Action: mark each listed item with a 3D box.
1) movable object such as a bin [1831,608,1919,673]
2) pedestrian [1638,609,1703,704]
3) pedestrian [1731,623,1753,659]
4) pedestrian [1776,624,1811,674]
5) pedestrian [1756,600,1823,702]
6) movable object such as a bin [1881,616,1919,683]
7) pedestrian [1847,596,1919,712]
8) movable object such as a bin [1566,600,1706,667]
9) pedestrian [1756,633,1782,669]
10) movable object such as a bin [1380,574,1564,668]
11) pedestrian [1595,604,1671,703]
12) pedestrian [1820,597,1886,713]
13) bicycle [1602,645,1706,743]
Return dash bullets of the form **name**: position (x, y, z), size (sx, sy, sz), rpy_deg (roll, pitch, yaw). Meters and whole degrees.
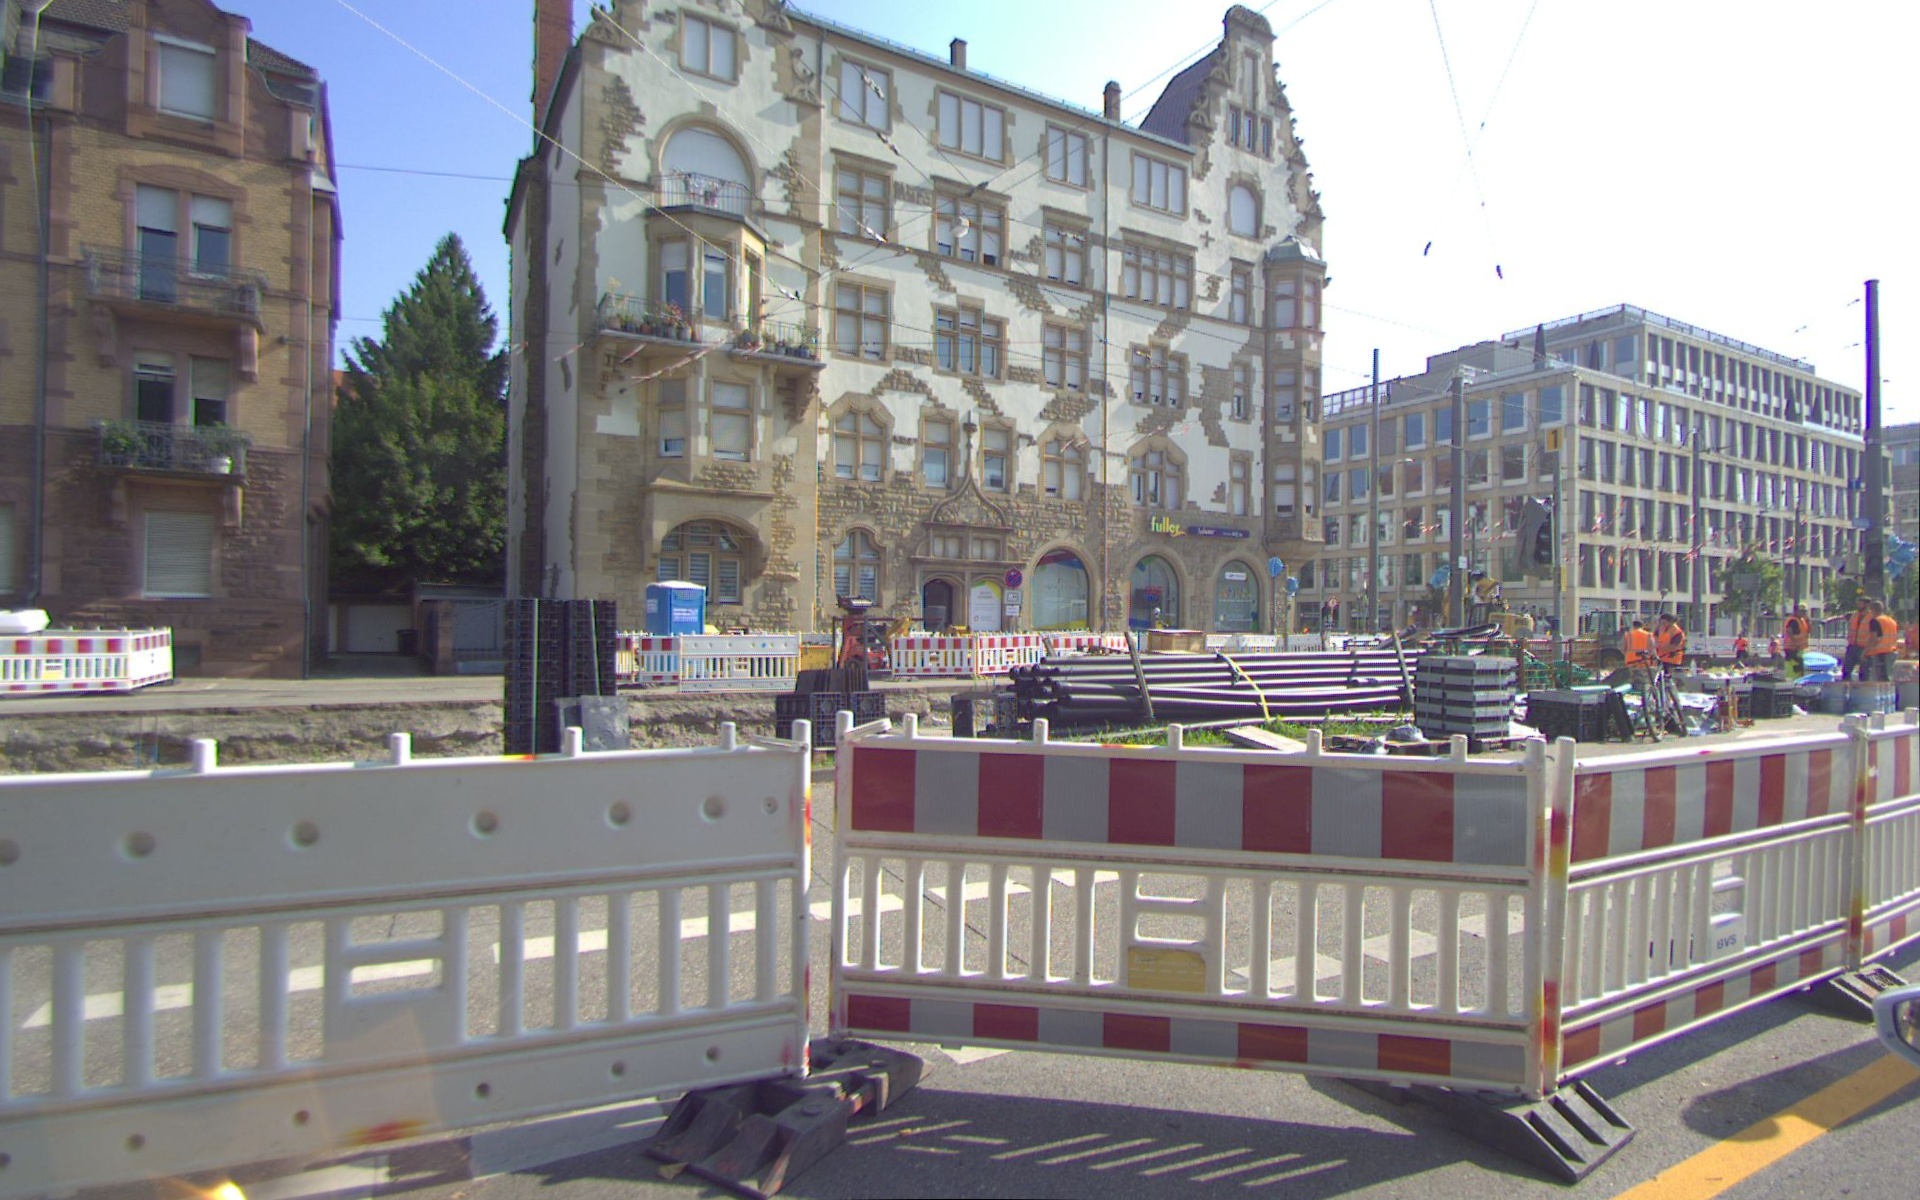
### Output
- **movable object such as a bin**: position (47.821, 2.075, 50.516), size (8.379, 2.997, 3.595), rpy_deg (3, -1, -31)
- **pedestrian**: position (14.080, 1.109, 19.916), size (0.813, 1.833, 0.755), rpy_deg (0, -2, 15)
- **pedestrian**: position (42.259, 2.210, 54.301), size (0.802, 1.889, 0.748), rpy_deg (1, -1, -34)
- **pedestrian**: position (32.723, 1.902, 39.449), size (0.712, 1.937, 0.785), rpy_deg (1, -2, -21)
- **pedestrian**: position (15.809, 0.968, 19.158), size (0.698, 1.895, 0.718), rpy_deg (1, -2, -22)
- **movable object such as a bin**: position (24.189, 1.207, 24.511), size (3.246, 1.579, 1.593), rpy_deg (2, -2, -29)
- **pedestrian**: position (15.922, 0.918, 17.335), size (0.700, 1.952, 0.685), rpy_deg (0, -2, 23)
- **movable object such as a bin**: position (29.926, 1.472, 44.670), size (4.723, 2.871, 2.449), rpy_deg (0, -2, 23)
- **pedestrian**: position (42.155, 2.647, 52.339), size (0.804, 1.889, 0.915), rpy_deg (2, -1, -41)
- **movable object such as a bin**: position (26.473, 1.175, 52.444), size (4.890, 4.404, 7.356), rpy_deg (2, -2, -17)
- **pedestrian**: position (12.874, 1.021, 19.223), size (0.870, 1.840, 0.828), rpy_deg (1, -2, -15)
- **pedestrian**: position (16.165, 0.982, 18.195), size (0.683, 2.041, 0.674), rpy_deg (0, -2, 23)
- **bicycle**: position (8.630, 1.132, 12.462), size (1.952, 1.113, 0.557), rpy_deg (3, -1, -40)
